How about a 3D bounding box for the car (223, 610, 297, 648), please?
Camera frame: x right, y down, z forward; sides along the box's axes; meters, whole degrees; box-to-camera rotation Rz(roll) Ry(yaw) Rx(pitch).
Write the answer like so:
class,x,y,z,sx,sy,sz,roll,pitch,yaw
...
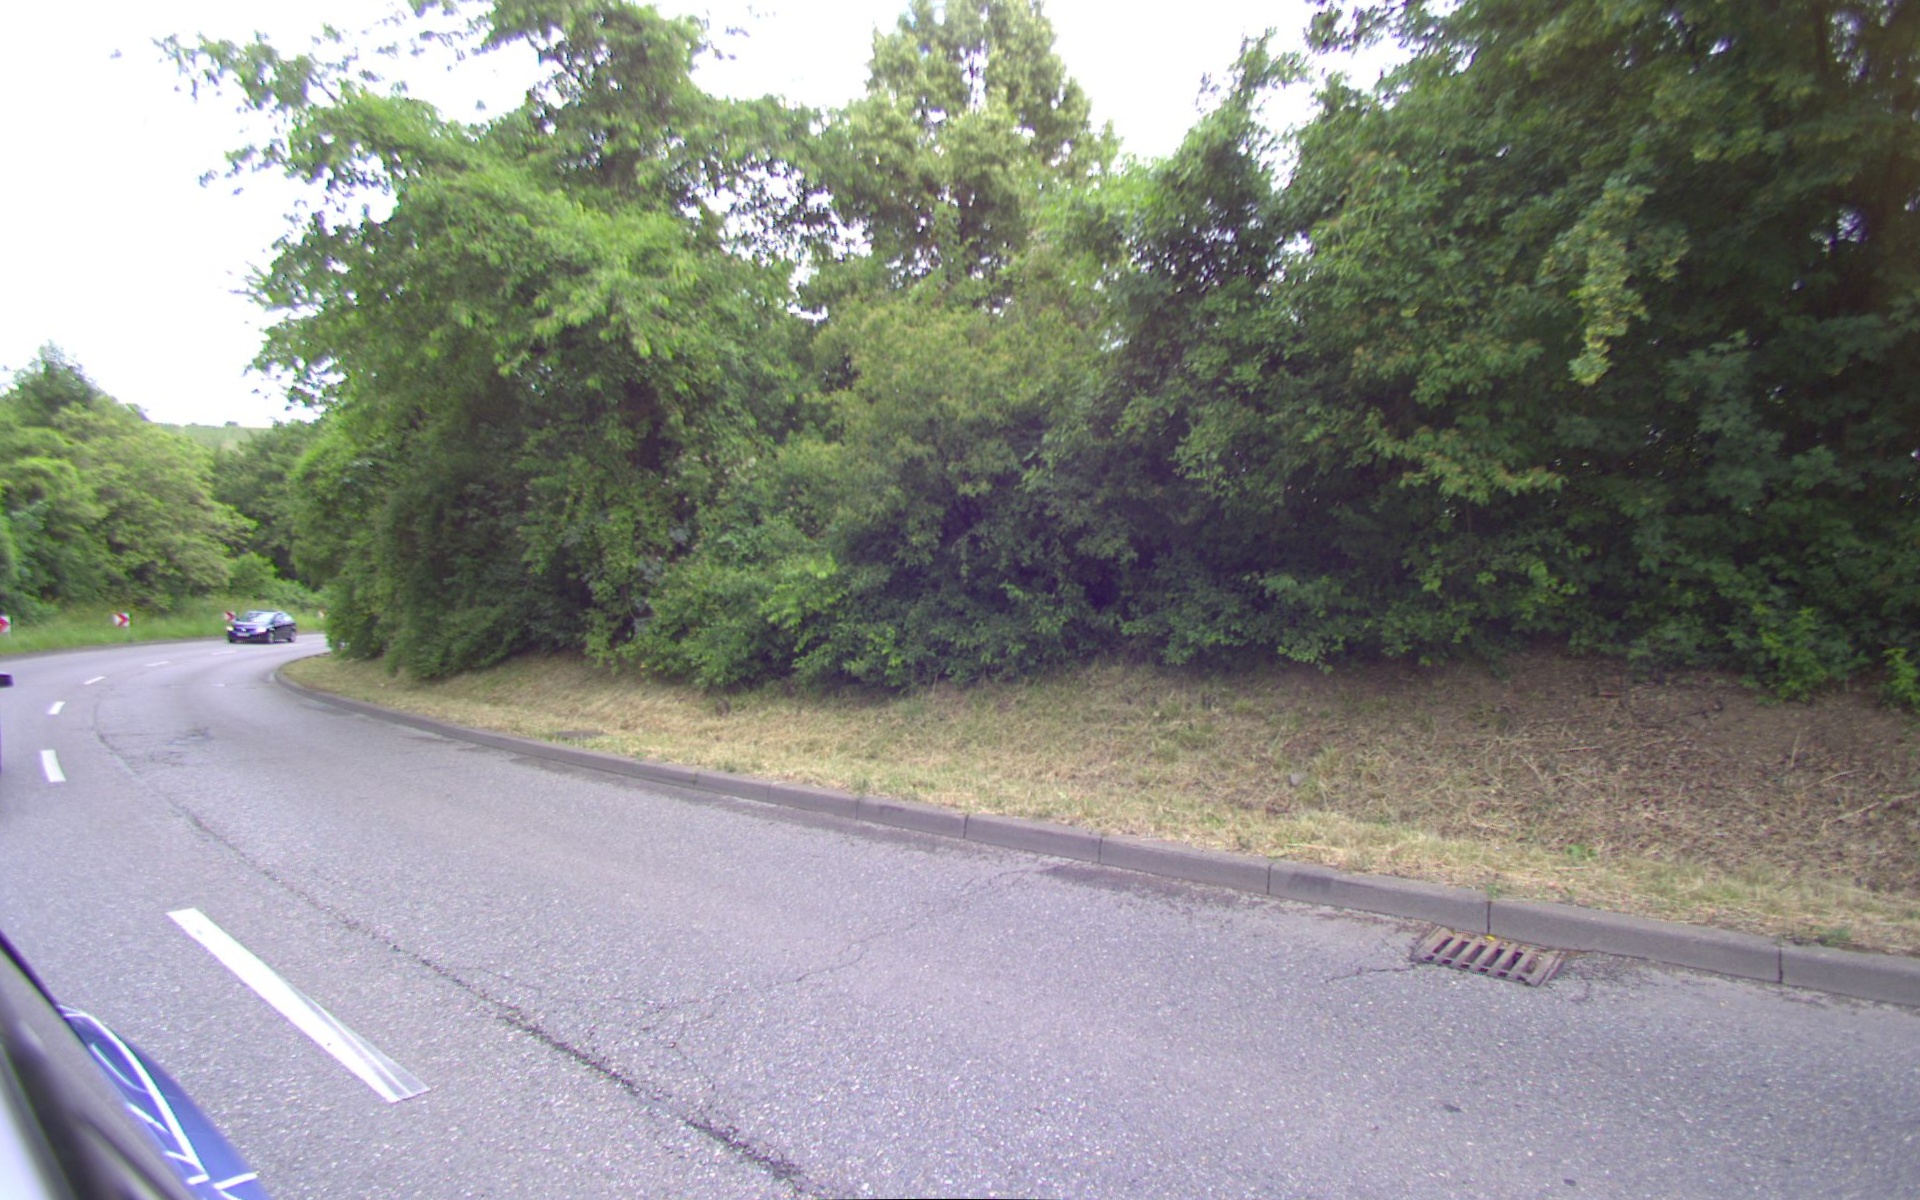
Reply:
class,x,y,z,sx,sy,sz,roll,pitch,yaw
car,-33.629,1.375,48.750,1.529,1.657,3.749,4,-2,-13
